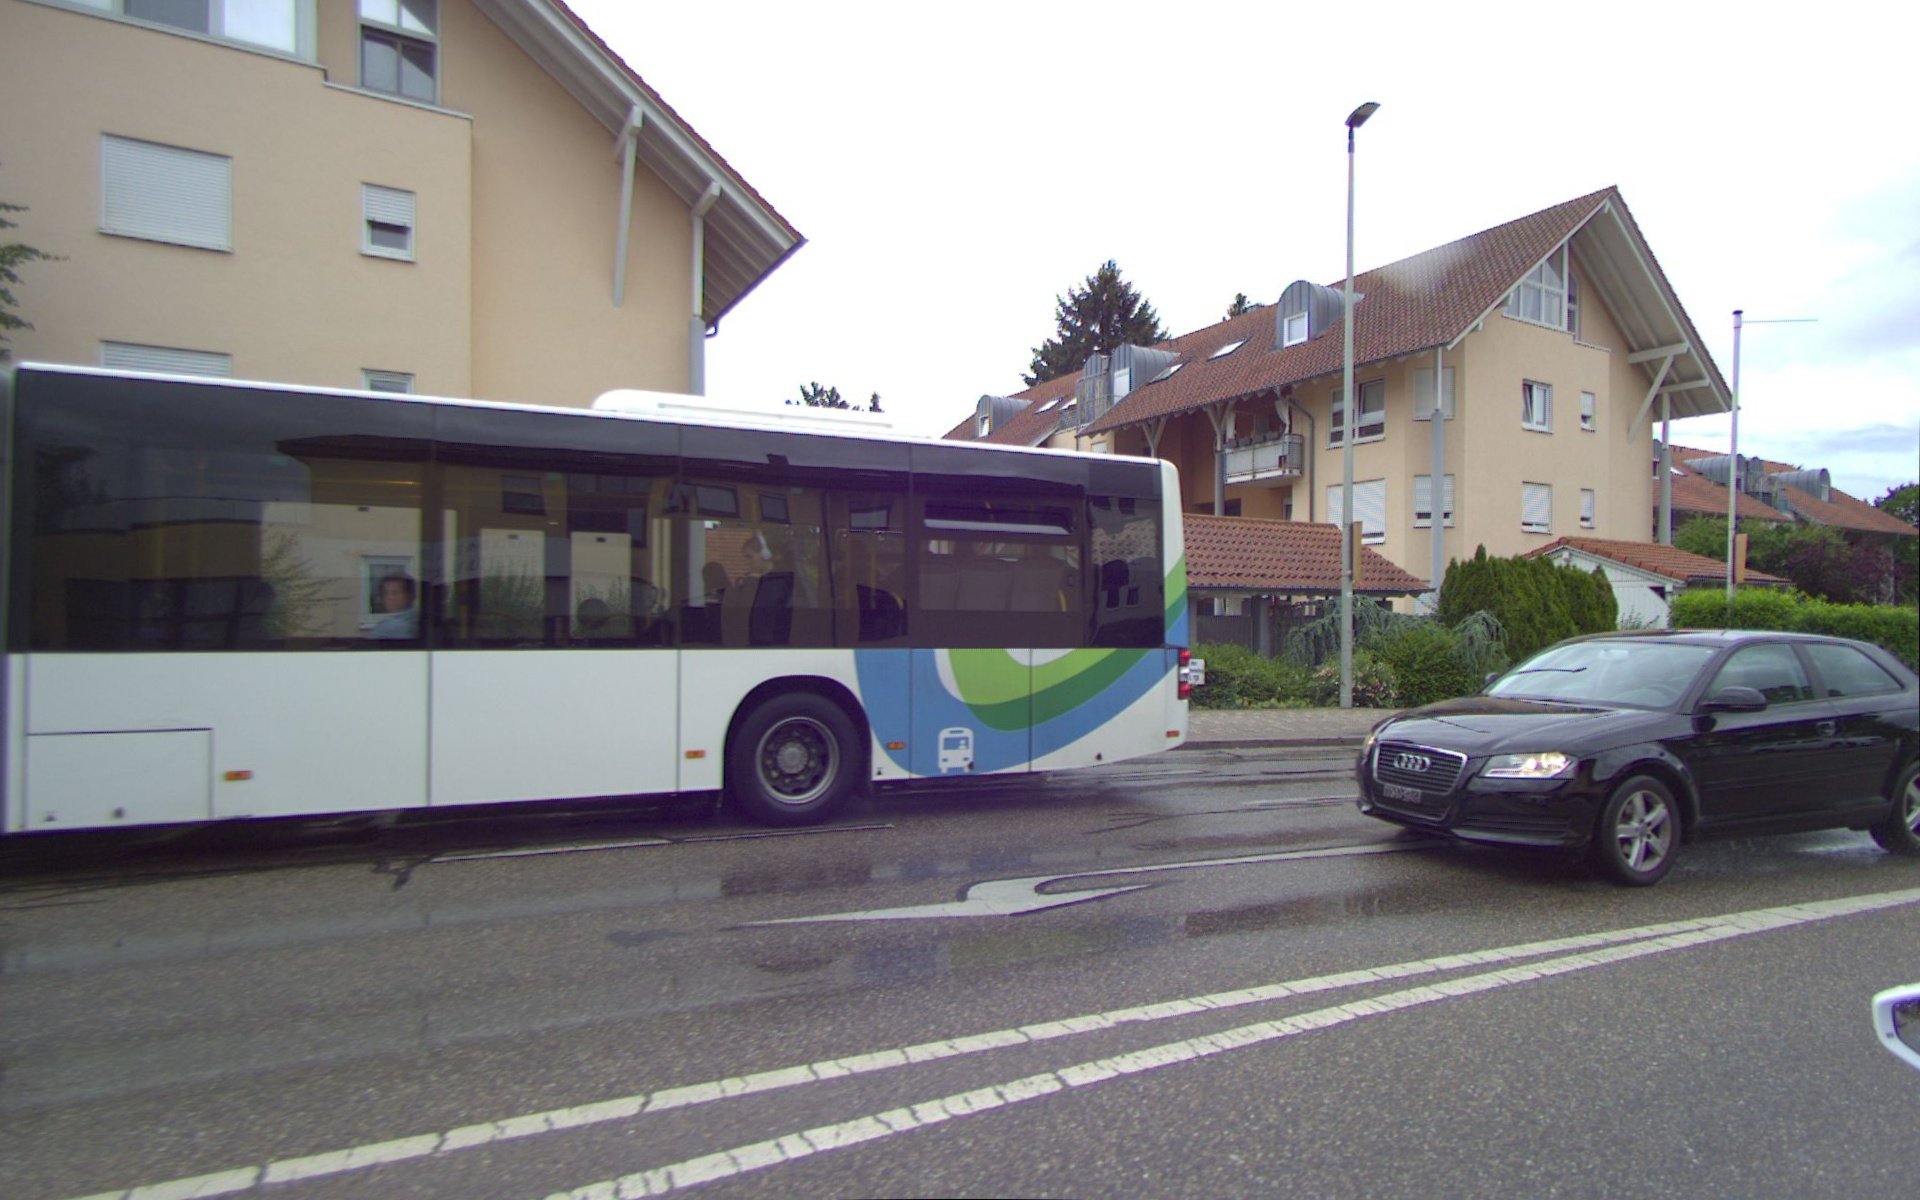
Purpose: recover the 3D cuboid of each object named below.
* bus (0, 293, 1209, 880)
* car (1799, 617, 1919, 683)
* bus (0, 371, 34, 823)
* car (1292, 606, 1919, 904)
[{"bbox_3d":[-2.230,0.011,7.842,8.288,3.039,2.579,1,-2,-24],"label":"bus"},{"bbox_3d":[25.912,1.429,28.264,3.946,1.672,1.988,3,-1,-25],"label":"car"},{"bbox_3d":[-10.169,-0.102,3.995,9.085,3.039,2.538,1,-2,-27],"label":"bus"},{"bbox_3d":[4.594,0.848,6.776,4.226,1.538,1.858,1,-1,-19],"label":"car"}]
